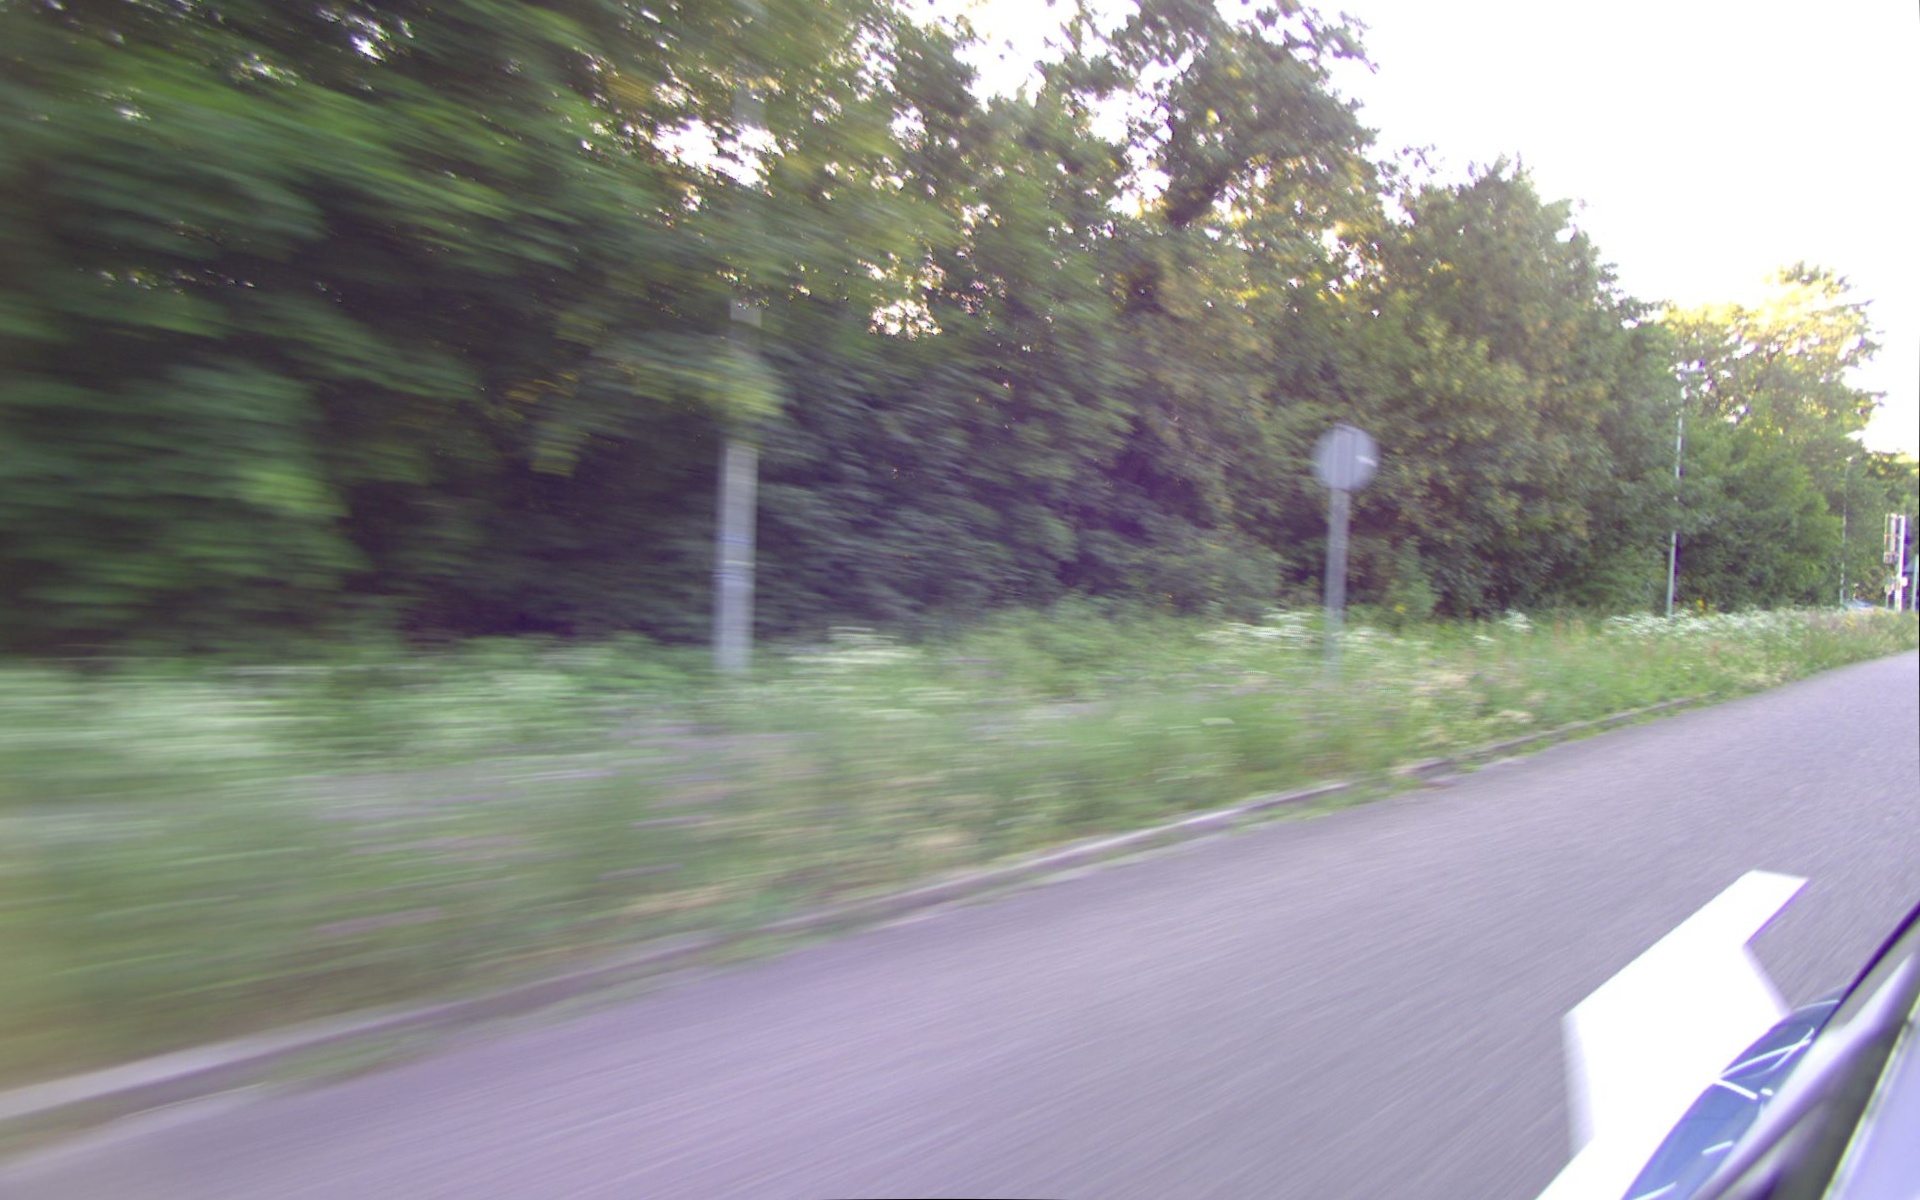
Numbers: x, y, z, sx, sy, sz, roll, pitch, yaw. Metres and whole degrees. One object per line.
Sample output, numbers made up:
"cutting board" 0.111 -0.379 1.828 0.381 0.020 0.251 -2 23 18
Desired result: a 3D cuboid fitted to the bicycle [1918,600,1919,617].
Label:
"bicycle" 57.267 0.500 59.890 1.661 1.008 0.612 -1 3 -40
